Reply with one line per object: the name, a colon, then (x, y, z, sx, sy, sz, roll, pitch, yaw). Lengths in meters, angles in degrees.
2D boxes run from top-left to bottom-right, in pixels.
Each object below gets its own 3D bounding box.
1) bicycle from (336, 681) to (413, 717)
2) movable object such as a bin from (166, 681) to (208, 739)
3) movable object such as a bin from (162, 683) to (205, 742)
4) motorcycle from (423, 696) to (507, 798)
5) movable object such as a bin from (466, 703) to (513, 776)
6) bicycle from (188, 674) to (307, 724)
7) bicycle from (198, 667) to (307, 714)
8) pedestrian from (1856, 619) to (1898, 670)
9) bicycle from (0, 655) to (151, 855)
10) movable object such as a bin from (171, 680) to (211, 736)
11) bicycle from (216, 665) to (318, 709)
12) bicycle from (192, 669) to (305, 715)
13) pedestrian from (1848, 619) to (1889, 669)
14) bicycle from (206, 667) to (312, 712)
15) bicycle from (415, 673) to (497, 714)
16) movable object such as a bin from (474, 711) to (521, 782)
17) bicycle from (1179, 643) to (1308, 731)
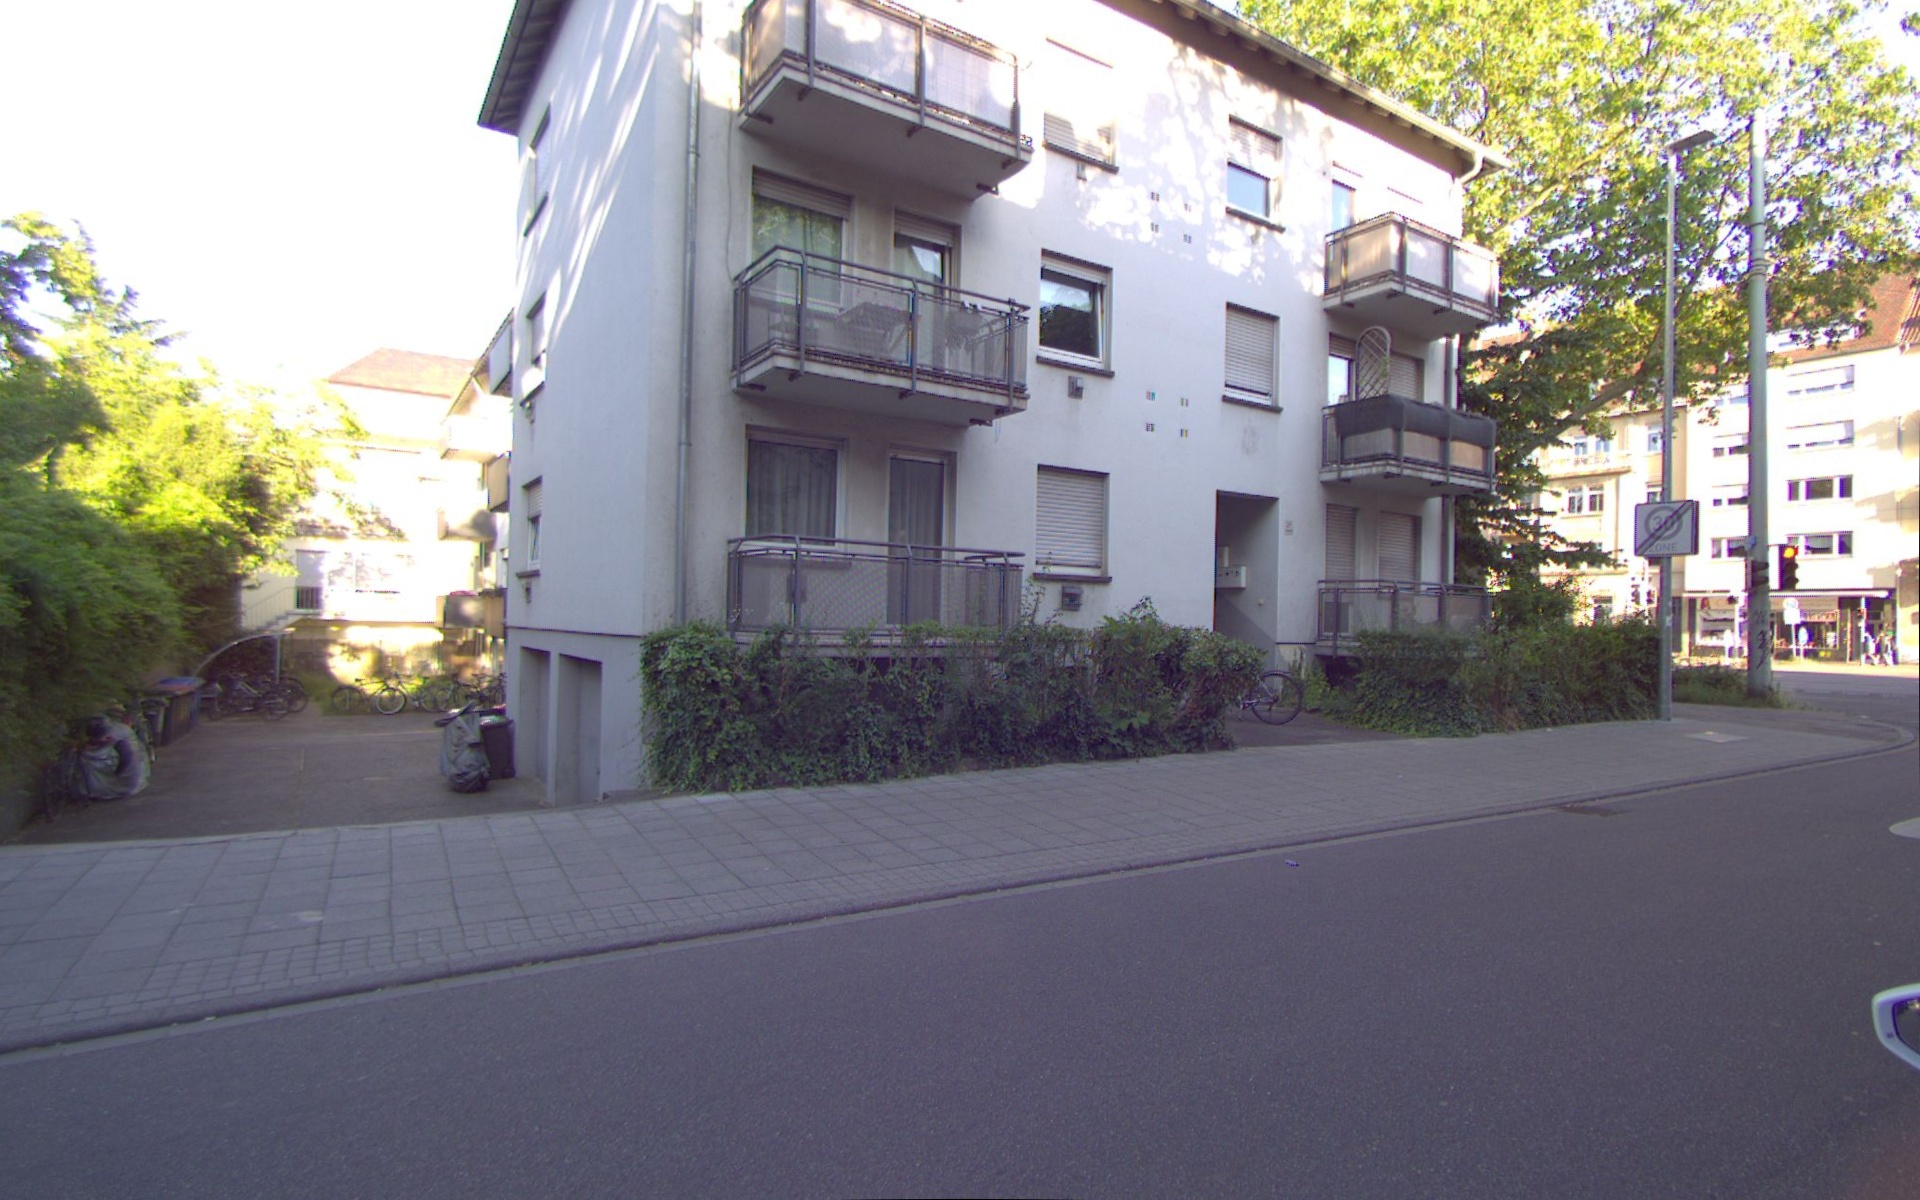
bicycle: (-15.568, 2.629, 26.744, 1.734, 0.890, 0.561, 2, -4, -30)
movable object such as a bin: (-15.932, 2.261, 20.723, 0.606, 1.129, 0.795, 1, -3, -33)
movable object such as a bin: (-15.491, 2.229, 20.053, 0.606, 1.129, 0.795, 1, -3, -33)
motorcycle: (-7.406, 2.154, 15.007, 0.739, 1.313, 1.563, 2, -2, -41)
movable object such as a bin: (-7.918, 2.330, 16.901, 0.606, 1.129, 0.795, 1, -3, -33)
bicycle: (-17.338, 2.386, 24.525, 2.268, 1.148, 0.689, 2, -4, -30)
bicycle: (-19.028, 2.419, 27.087, 2.311, 1.192, 0.689, 2, -4, -30)
pedestrian: (45.961, 2.195, 50.331, 1.049, 2.497, 1.338, 1, 0, -34)
bicycle: (-10.603, 1.659, 11.979, 0.961, 1.917, 4.156, 1, -2, -32)
movable object such as a bin: (-16.364, 2.291, 21.385, 0.606, 1.129, 0.795, 1, -3, -33)
bicycle: (-19.645, 2.455, 28.540, 2.311, 1.192, 0.689, 2, -4, -30)
bicycle: (-18.602, 2.393, 26.341, 2.311, 1.148, 0.689, 2, -4, -30)
pedestrian: (46.561, 2.225, 51.501, 1.049, 2.497, 1.338, 1, 0, -34)
bicycle: (-19.374, 2.459, 27.812, 2.311, 1.192, 0.689, 2, -4, -30)
bicycle: (-13.914, 2.577, 27.745, 1.982, 1.085, 0.561, 2, -4, -30)
movable object such as a bin: (-7.402, 2.329, 16.089, 0.606, 1.051, 0.534, 1, -3, -34)
bicycle: (3.827, 1.152, 13.571, 1.590, 1.022, 0.517, 3, 1, 20)
